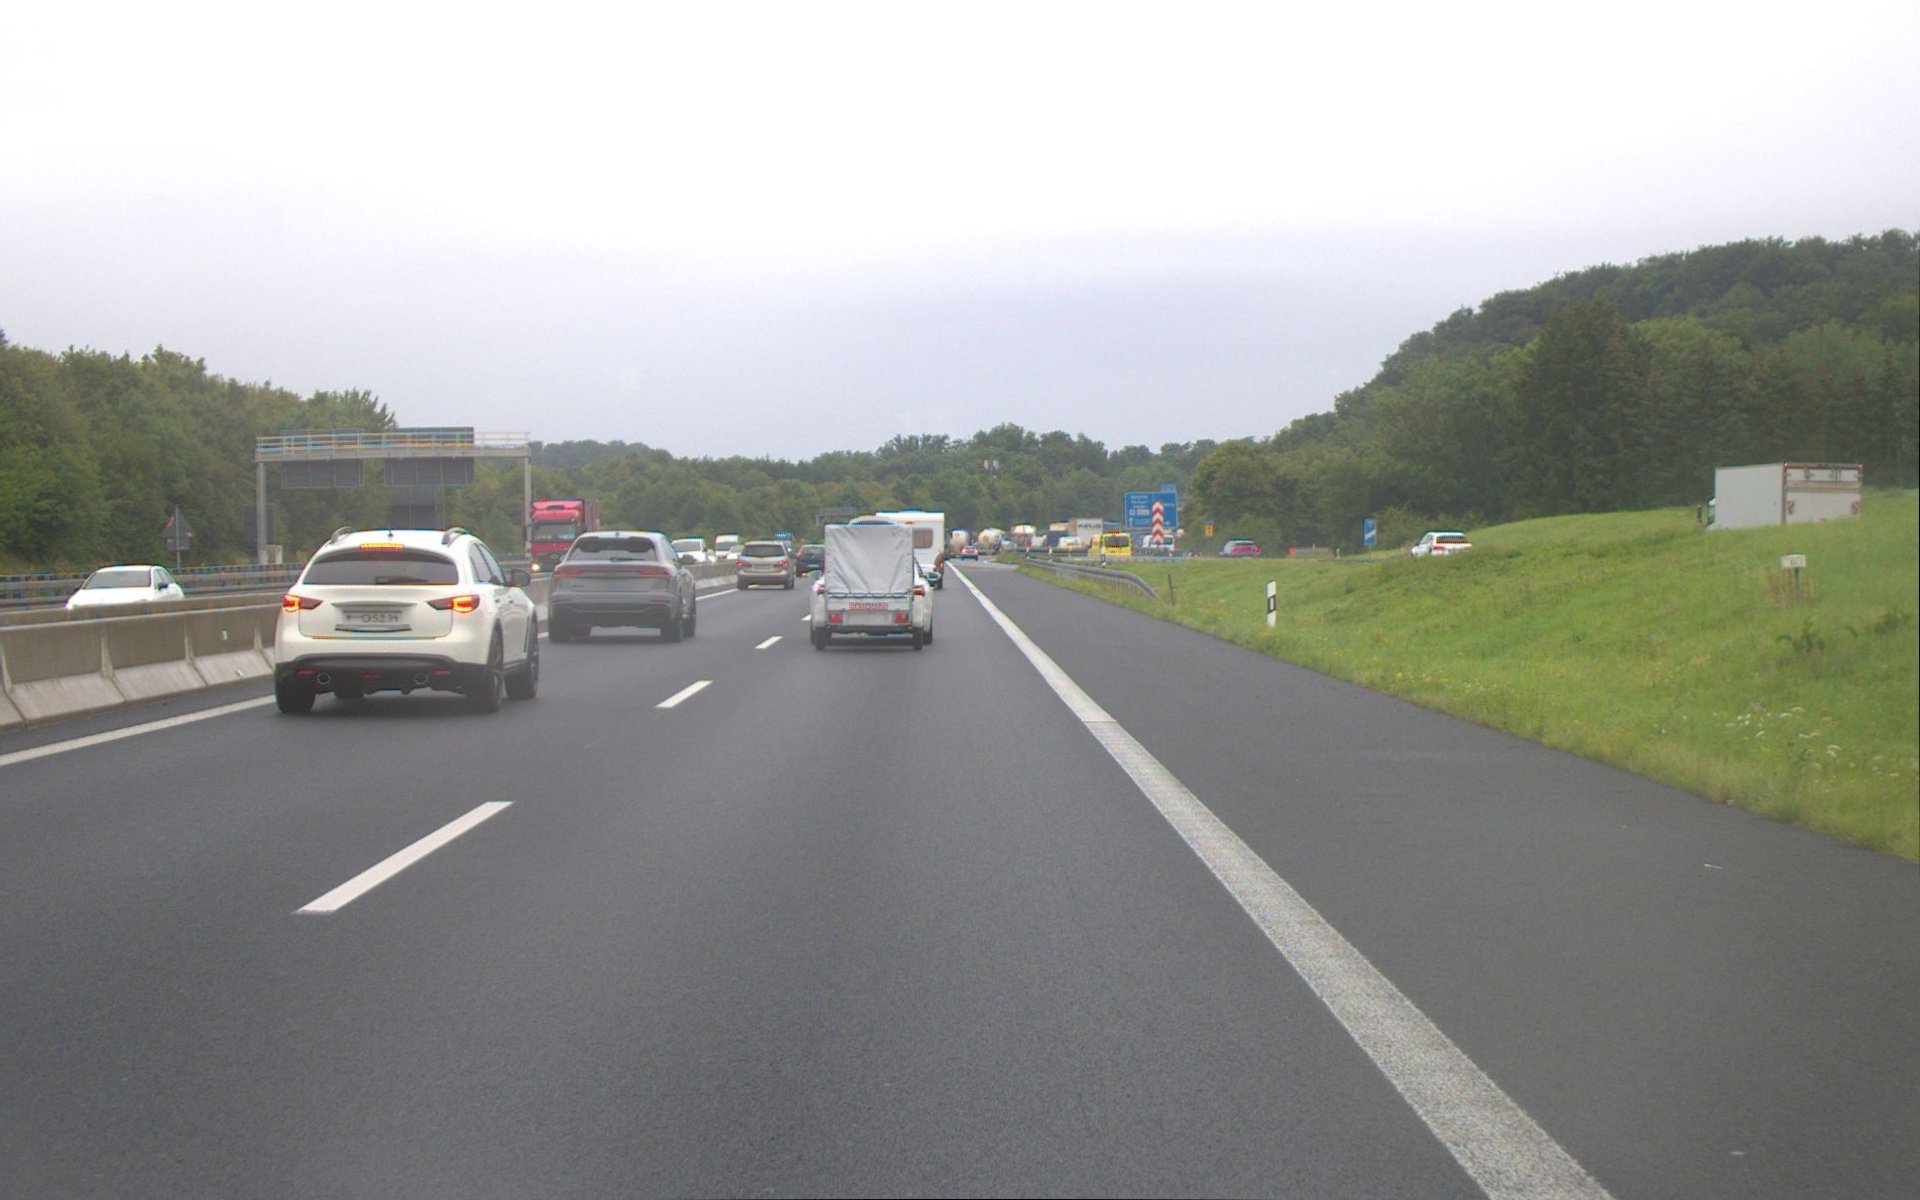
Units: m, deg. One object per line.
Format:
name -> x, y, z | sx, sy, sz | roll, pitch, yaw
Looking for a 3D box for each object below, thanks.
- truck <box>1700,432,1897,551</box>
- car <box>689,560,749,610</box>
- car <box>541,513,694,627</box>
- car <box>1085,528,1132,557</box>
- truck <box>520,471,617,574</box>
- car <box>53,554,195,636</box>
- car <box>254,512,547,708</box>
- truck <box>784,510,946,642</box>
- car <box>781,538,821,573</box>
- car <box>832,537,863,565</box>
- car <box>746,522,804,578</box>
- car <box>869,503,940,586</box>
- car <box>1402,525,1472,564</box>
truck -> 27.078, -3.447, 111.467 | 3.824, 3.646, 8.273 | 1, 1, -4
car -> -8.452, -0.541, 120.909 | 1.819, 1.656, 4.017 | 0, 1, 0
car -> -5.342, -0.488, 54.136 | 1.975, 1.697, 4.802 | 1, 1, -1
car -> 8.119, -3.128, 187.910 | 1.993, 1.546, 4.001 | 1, 1, -5
truck -> -18.585, -3.679, 164.012 | 3.400, 4.717, 10.486 | 0, 1, 0
car -> -17.616, -0.132, 72.653 | 1.993, 1.656, 4.314 | 0, 1, -1
car -> -5.083, 0.041, 31.819 | 2.048, 1.665, 4.541 | 0, 1, -1
truck -> -1.402, -0.394, 51.203 | 2.242, 1.833, 6.585 | 0, 1, -1
car -> -7.370, -2.064, 159.434 | 1.645, 1.568, 4.000 | 1, 1, 0
car -> -6.576, -2.863, 200.761 | 1.645, 1.568, 4.000 | 1, 1, 0
car -> -6.121, -1.662, 113.944 | 1.738, 1.787, 4.000 | 0, 1, -1
car -> -1.883, -1.889, 116.084 | 2.331, 2.716, 6.540 | 0, 1, -1
car -> 19.722, -2.299, 142.303 | 1.993, 1.546, 4.001 | 1, 1, -5
